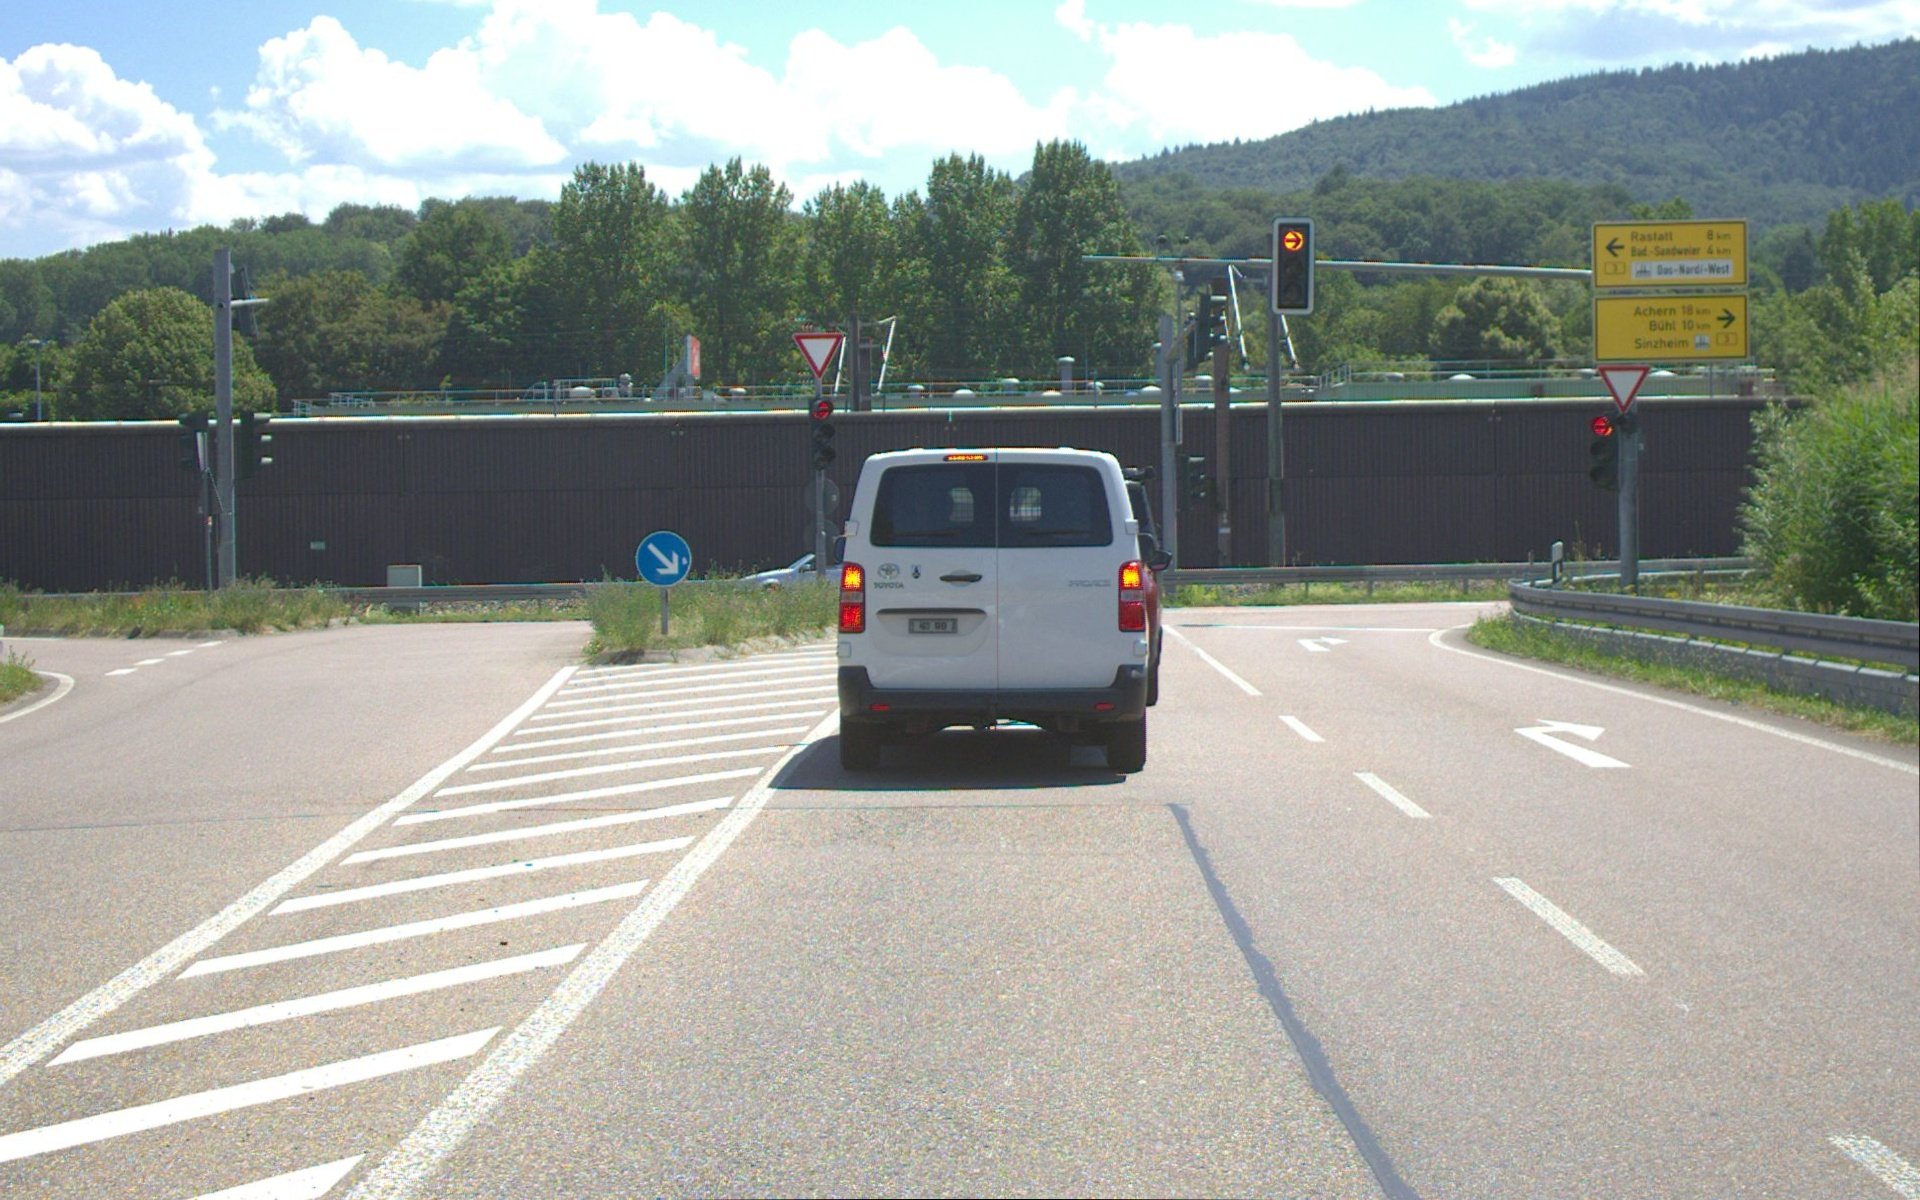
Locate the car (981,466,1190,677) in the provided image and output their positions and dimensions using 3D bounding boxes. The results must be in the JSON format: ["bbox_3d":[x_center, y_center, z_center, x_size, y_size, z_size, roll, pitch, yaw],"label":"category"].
[{"bbox_3d":[1.288,-0.316,36.052,1.993,2.006,4.000,-2,1,1],"label":"car"}]

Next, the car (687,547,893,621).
[{"bbox_3d":[-3.372,-0.331,68.642,3.987,1.345,1.849,1,3,1],"label":"car"}]

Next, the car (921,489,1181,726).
[{"bbox_3d":[0.763,0.023,29.275,1.993,1.806,4.000,-2,1,1],"label":"car"}]

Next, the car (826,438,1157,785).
[{"bbox_3d":[0.209,0.031,21.428,1.870,1.958,4.000,0,1,1],"label":"car"}]
